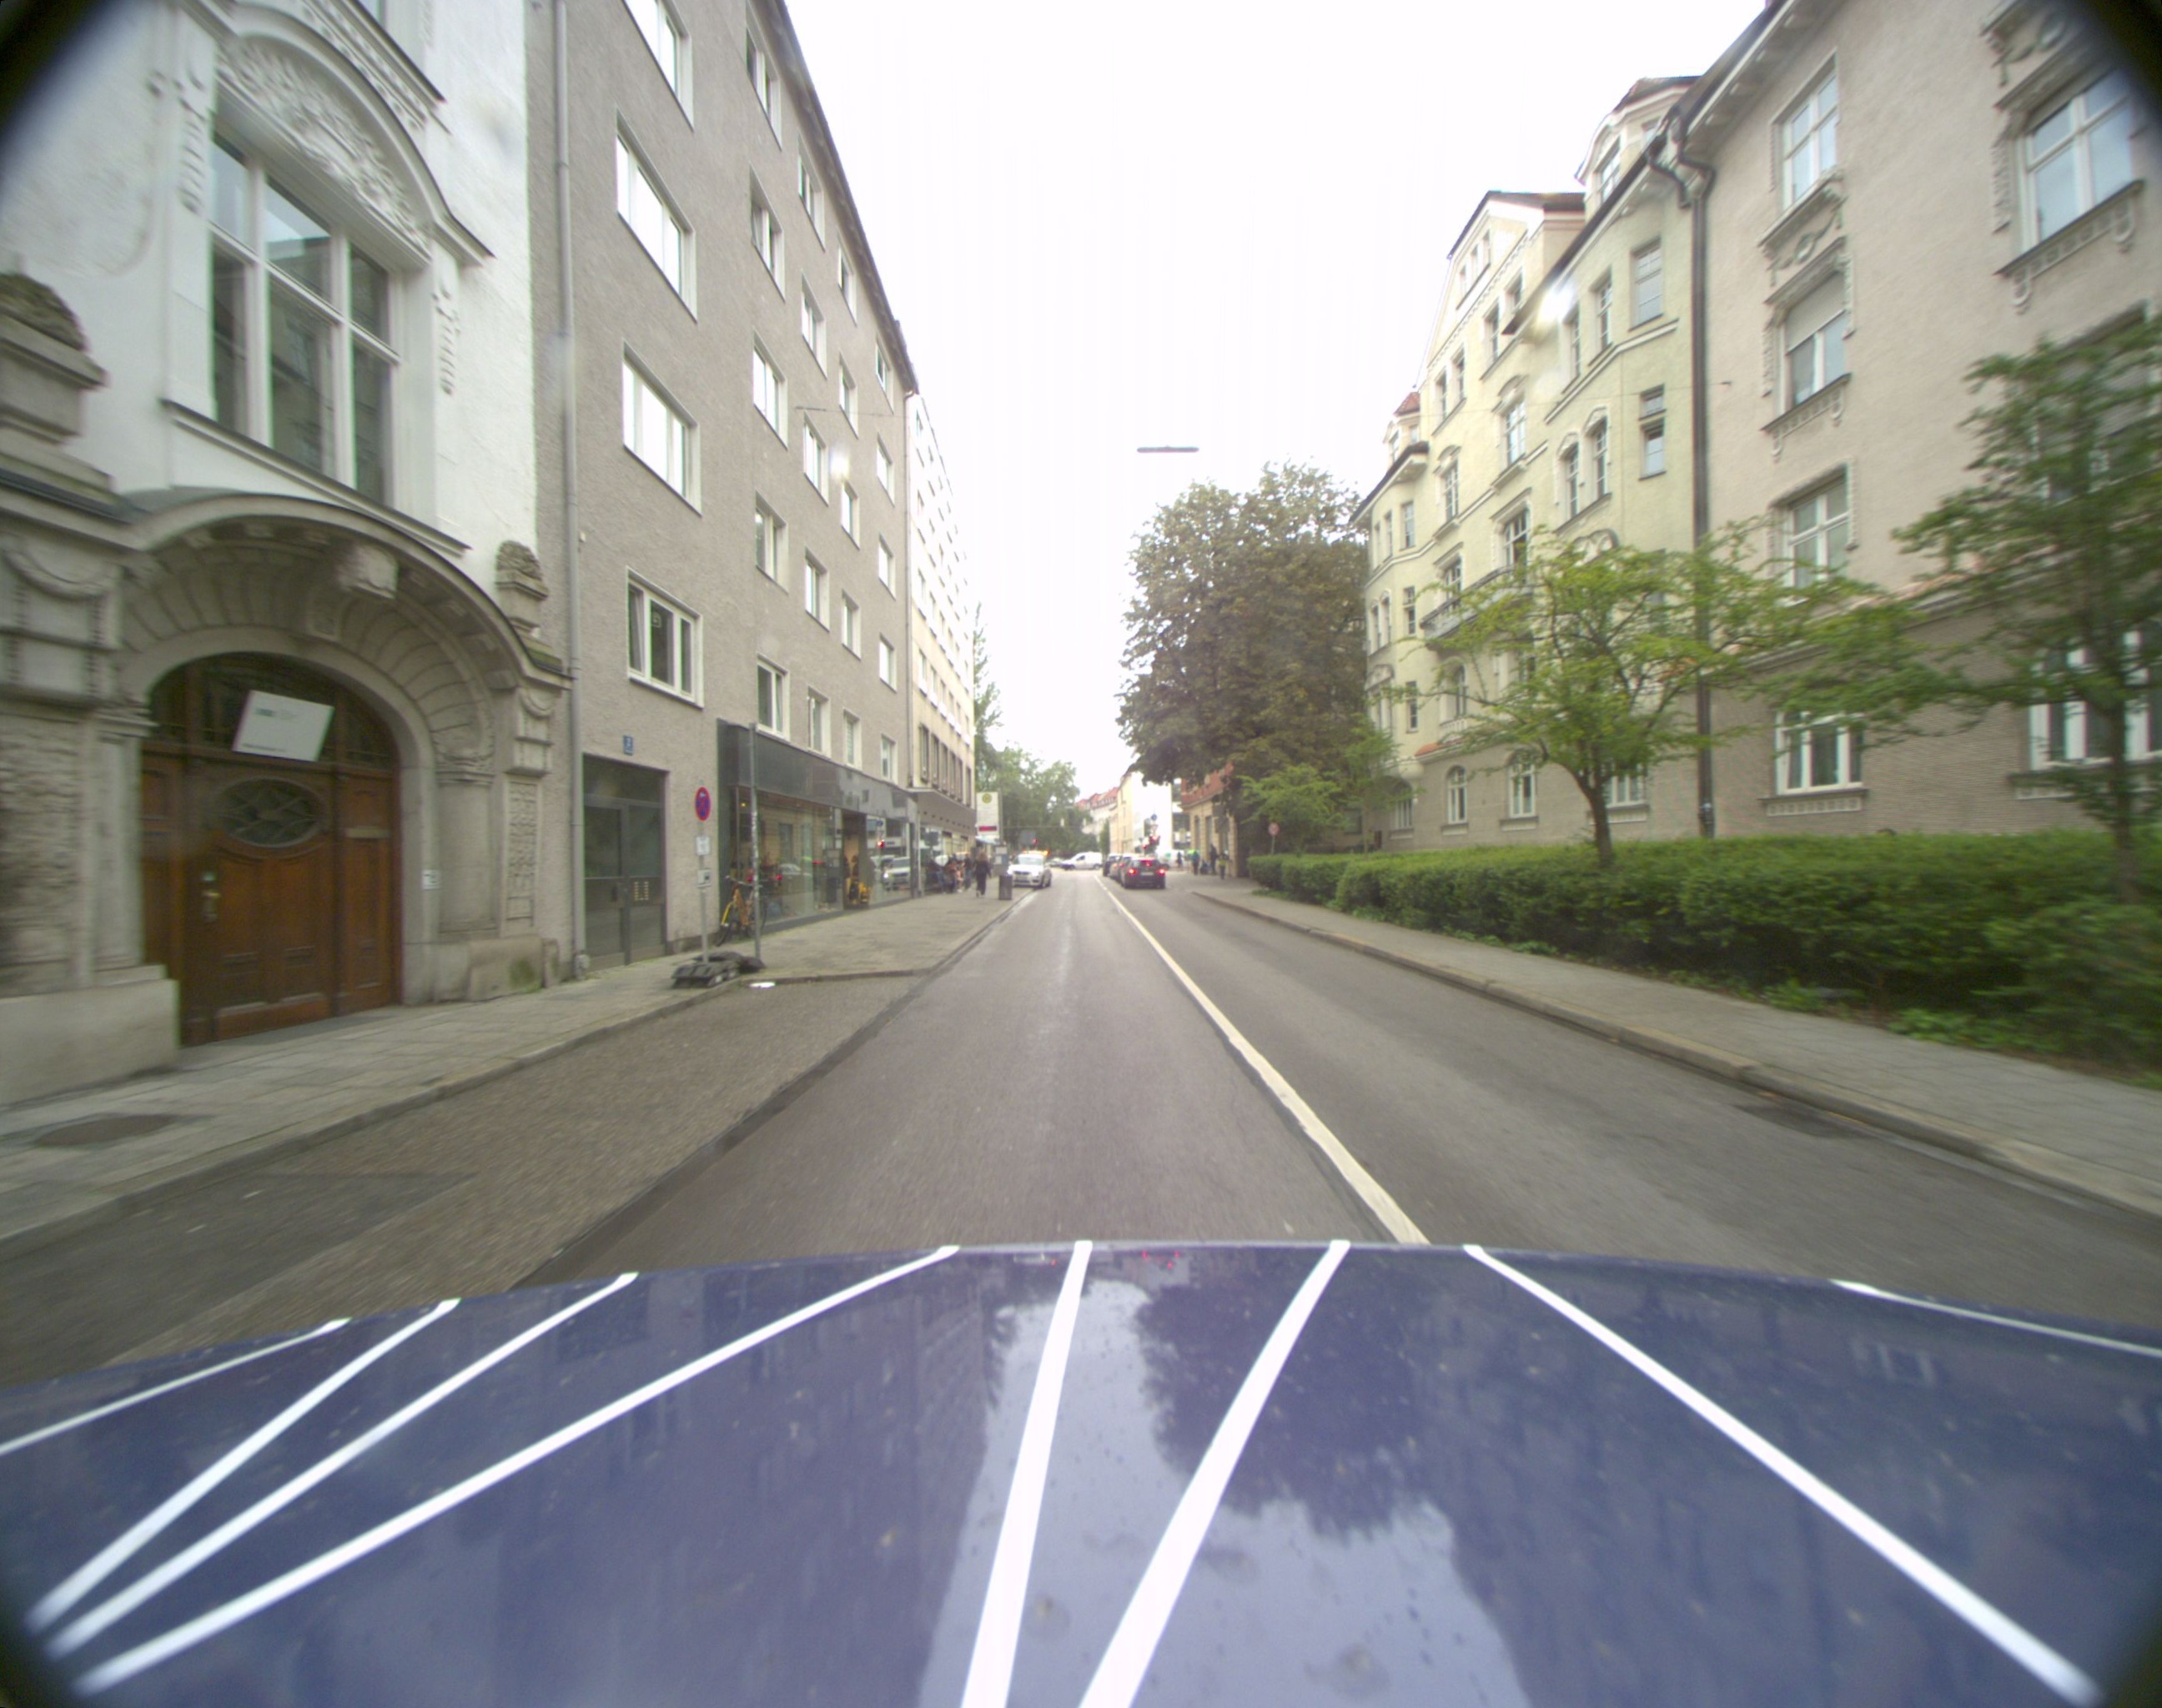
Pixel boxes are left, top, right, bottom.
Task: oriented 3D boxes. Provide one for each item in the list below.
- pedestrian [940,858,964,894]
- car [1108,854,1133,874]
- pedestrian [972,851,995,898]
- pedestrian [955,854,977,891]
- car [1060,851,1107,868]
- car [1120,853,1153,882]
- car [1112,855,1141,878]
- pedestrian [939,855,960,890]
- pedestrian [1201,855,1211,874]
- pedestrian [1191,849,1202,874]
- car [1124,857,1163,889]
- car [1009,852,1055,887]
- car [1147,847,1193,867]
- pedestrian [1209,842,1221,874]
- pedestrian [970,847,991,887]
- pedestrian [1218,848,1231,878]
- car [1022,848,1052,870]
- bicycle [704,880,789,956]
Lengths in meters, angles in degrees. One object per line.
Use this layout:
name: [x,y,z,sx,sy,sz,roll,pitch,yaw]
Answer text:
pedestrian: [-5.162,0.881,30.359,0.837,1.399,0.866,-1,1,-4]
car: [2.922,0.715,55.903,1.723,1.398,4.001,-1,0,5]
pedestrian: [-3.563,0.736,27.870,0.745,1.706,0.616,-1,1,1]
pedestrian: [-5.052,0.795,33.376,0.837,1.580,0.806,-1,1,-4]
car: [0.272,0.540,79.562,4.603,1.648,1.918,-1,0,-14]
car: [3.159,0.748,43.007,1.723,1.536,4.001,-1,0,5]
car: [2.956,0.783,48.857,1.723,1.398,4.001,-1,0,5]
pedestrian: [-5.494,0.785,31.840,0.747,1.439,0.571,-1,1,1]
pedestrian: [8.136,0.661,49.510,0.546,1.237,0.577,-1,1,1]
pedestrian: [7.591,0.487,49.927,0.625,1.579,0.662,-1,1,1]
car: [2.951,0.848,35.998,1.723,1.398,4.001,-1,0,5]
car: [-2.387,0.730,38.156,1.723,1.622,4.001,-1,0,5]
car: [8.633,0.318,74.145,4.288,1.881,1.920,-1,0,1]
pedestrian: [8.230,0.268,46.658,0.625,1.945,0.662,-1,1,1]
pedestrian: [-4.724,0.600,35.777,0.826,1.849,0.820,-1,1,-1]
pedestrian: [7.930,0.497,42.010,0.625,1.611,0.662,-1,1,1]
car: [-3.352,0.383,58.436,1.723,1.622,4.001,-1,0,5]
bicycle: [-5.613,1.040,12.862,0.593,1.111,1.845,-1,0,1]
